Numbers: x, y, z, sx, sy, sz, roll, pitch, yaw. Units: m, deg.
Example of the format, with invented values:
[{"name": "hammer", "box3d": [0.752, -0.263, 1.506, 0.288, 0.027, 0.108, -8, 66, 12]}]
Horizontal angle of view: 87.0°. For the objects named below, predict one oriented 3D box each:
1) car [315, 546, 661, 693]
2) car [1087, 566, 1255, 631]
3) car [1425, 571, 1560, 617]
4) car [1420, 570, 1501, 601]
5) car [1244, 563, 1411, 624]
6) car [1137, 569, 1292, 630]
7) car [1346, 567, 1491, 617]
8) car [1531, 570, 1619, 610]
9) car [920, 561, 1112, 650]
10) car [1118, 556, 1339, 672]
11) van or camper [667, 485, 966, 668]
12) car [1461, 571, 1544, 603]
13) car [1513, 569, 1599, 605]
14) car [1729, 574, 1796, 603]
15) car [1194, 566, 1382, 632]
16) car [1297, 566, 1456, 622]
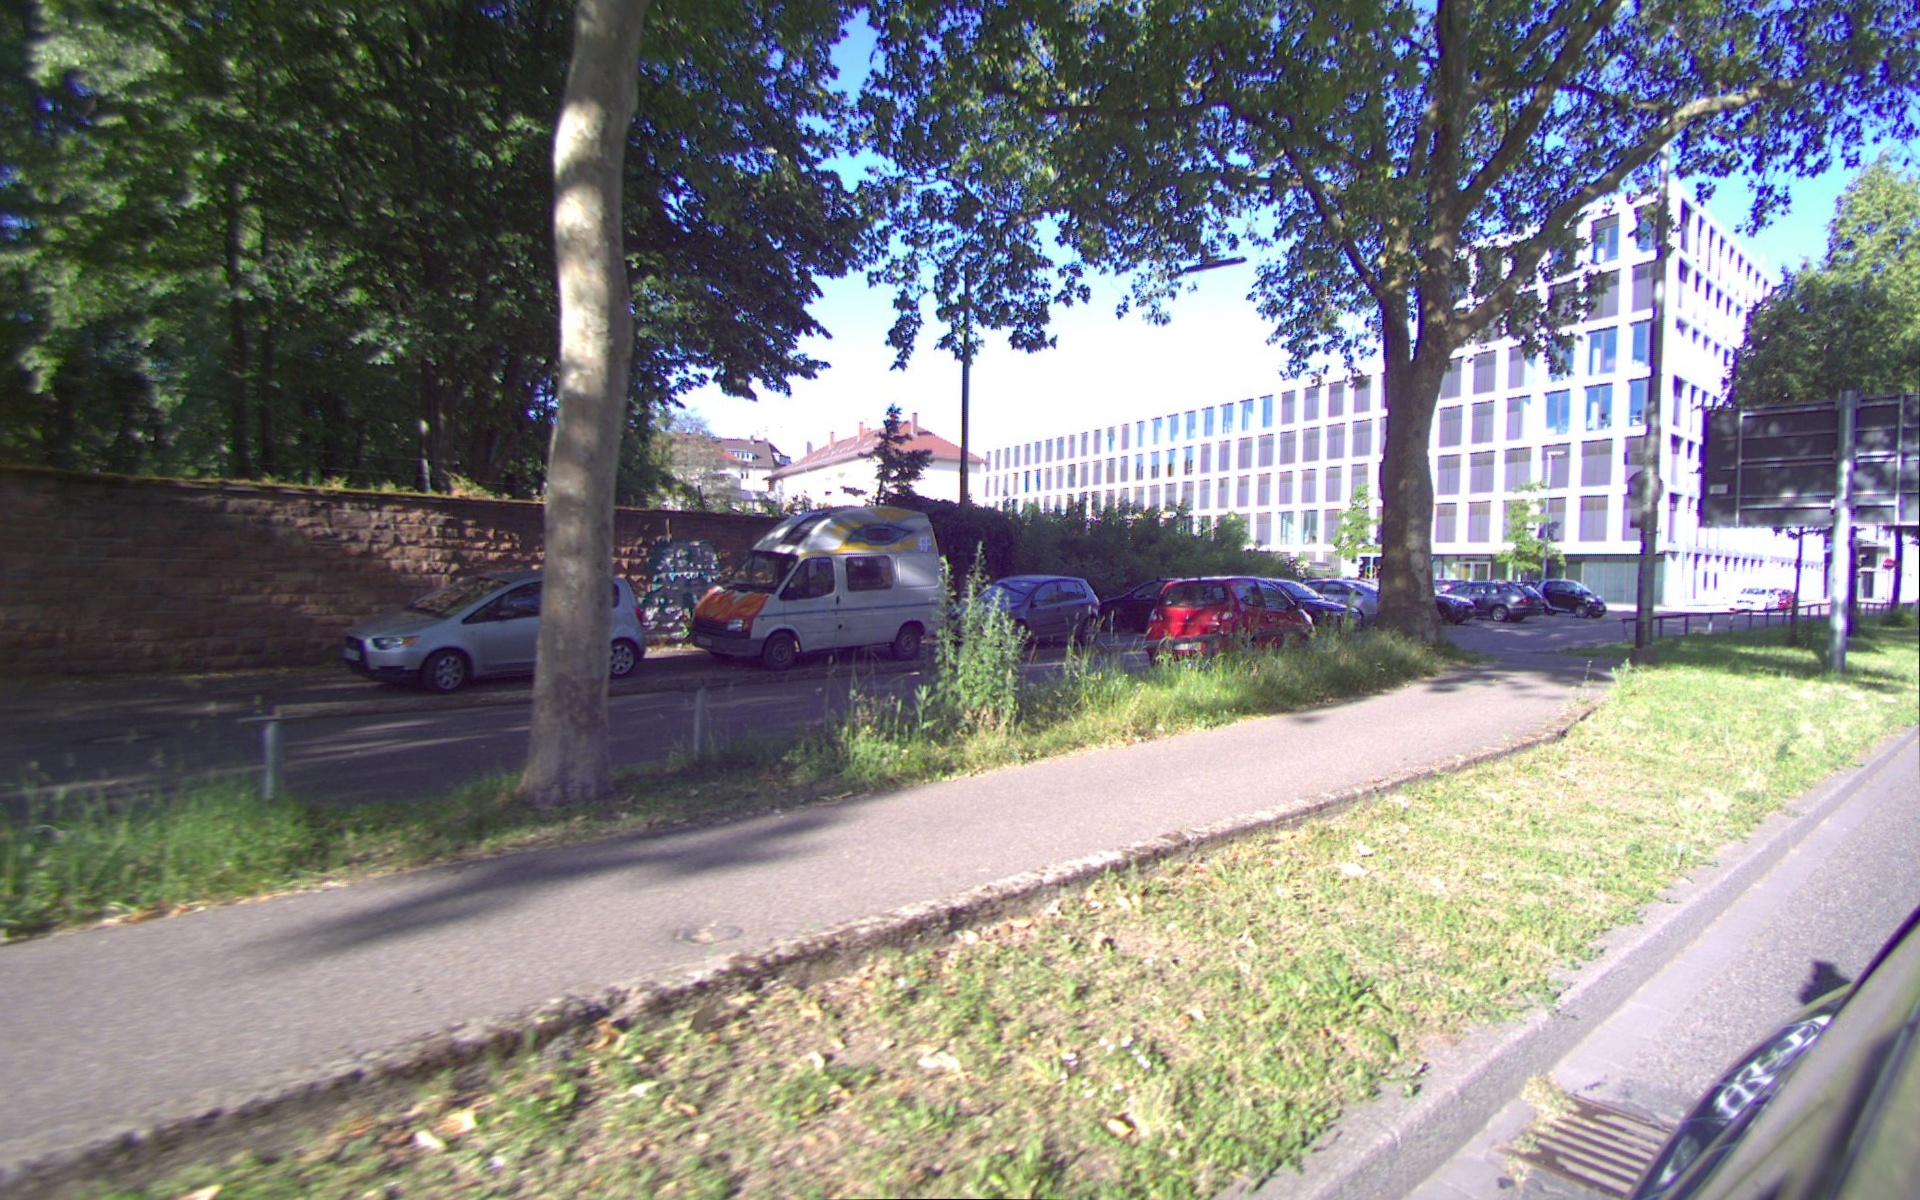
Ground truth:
[{"name": "car", "box3d": [-6.412, 0.166, 14.089, 1.837, 1.637, 3.945, 6, 5, 38]}, {"name": "car", "box3d": [5.397, -0.086, 26.227, 1.736, 1.523, 3.992, -1, 2, -43]}, {"name": "car", "box3d": [19.895, -0.277, 37.942, 1.685, 1.485, 4.091, -1, 4, -39]}, {"name": "car", "box3d": [26.726, -0.780, 54.046, 3.868, 1.559, 1.726, -1, 1, -22]}, {"name": "car", "box3d": [11.180, -0.258, 31.069, 1.963, 1.427, 4.396, 0, 6, -38]}, {"name": "car", "box3d": [6.947, -0.067, 27.996, 1.590, 1.409, 4.000, -1, 4, -37]}, {"name": "car", "box3d": [15.678, -0.309, 34.757, 1.752, 1.516, 4.197, -1, 3, -43]}, {"name": "car", "box3d": [25.843, -0.448, 42.566, 1.433, 1.568, 2.779, -1, 4, -31]}, {"name": "car", "box3d": [1.245, 0.028, 21.353, 1.993, 1.592, 3.940, 6, 5, 41]}, {"name": "car", "box3d": [4.484, 0.155, 16.564, 1.991, 1.660, 3.942, 0, 1, 41]}, {"name": "van or camper", "box3d": [-2.380, -0.477, 17.669, 4.883, 2.763, 1.996, -1, 5, -44]}, {"name": "car", "box3d": [27.853, -0.672, 51.983, 3.800, 1.555, 1.756, -1, 1, -22]}, {"name": "car", "box3d": [29.204, -0.636, 49.612, 3.739, 1.564, 1.602, 2, 2, -21]}, {"name": "car", "box3d": [46.430, -0.680, 58.540, 4.322, 1.503, 2.000, -1, 5, -38]}, {"name": "car", "box3d": [9.237, -0.110, 28.863, 1.965, 1.422, 4.733, -1, 6, -40]}, {"name": "car", "box3d": [13.457, -0.215, 32.874, 1.875, 1.496, 4.334, 1, 4, -44]}]
